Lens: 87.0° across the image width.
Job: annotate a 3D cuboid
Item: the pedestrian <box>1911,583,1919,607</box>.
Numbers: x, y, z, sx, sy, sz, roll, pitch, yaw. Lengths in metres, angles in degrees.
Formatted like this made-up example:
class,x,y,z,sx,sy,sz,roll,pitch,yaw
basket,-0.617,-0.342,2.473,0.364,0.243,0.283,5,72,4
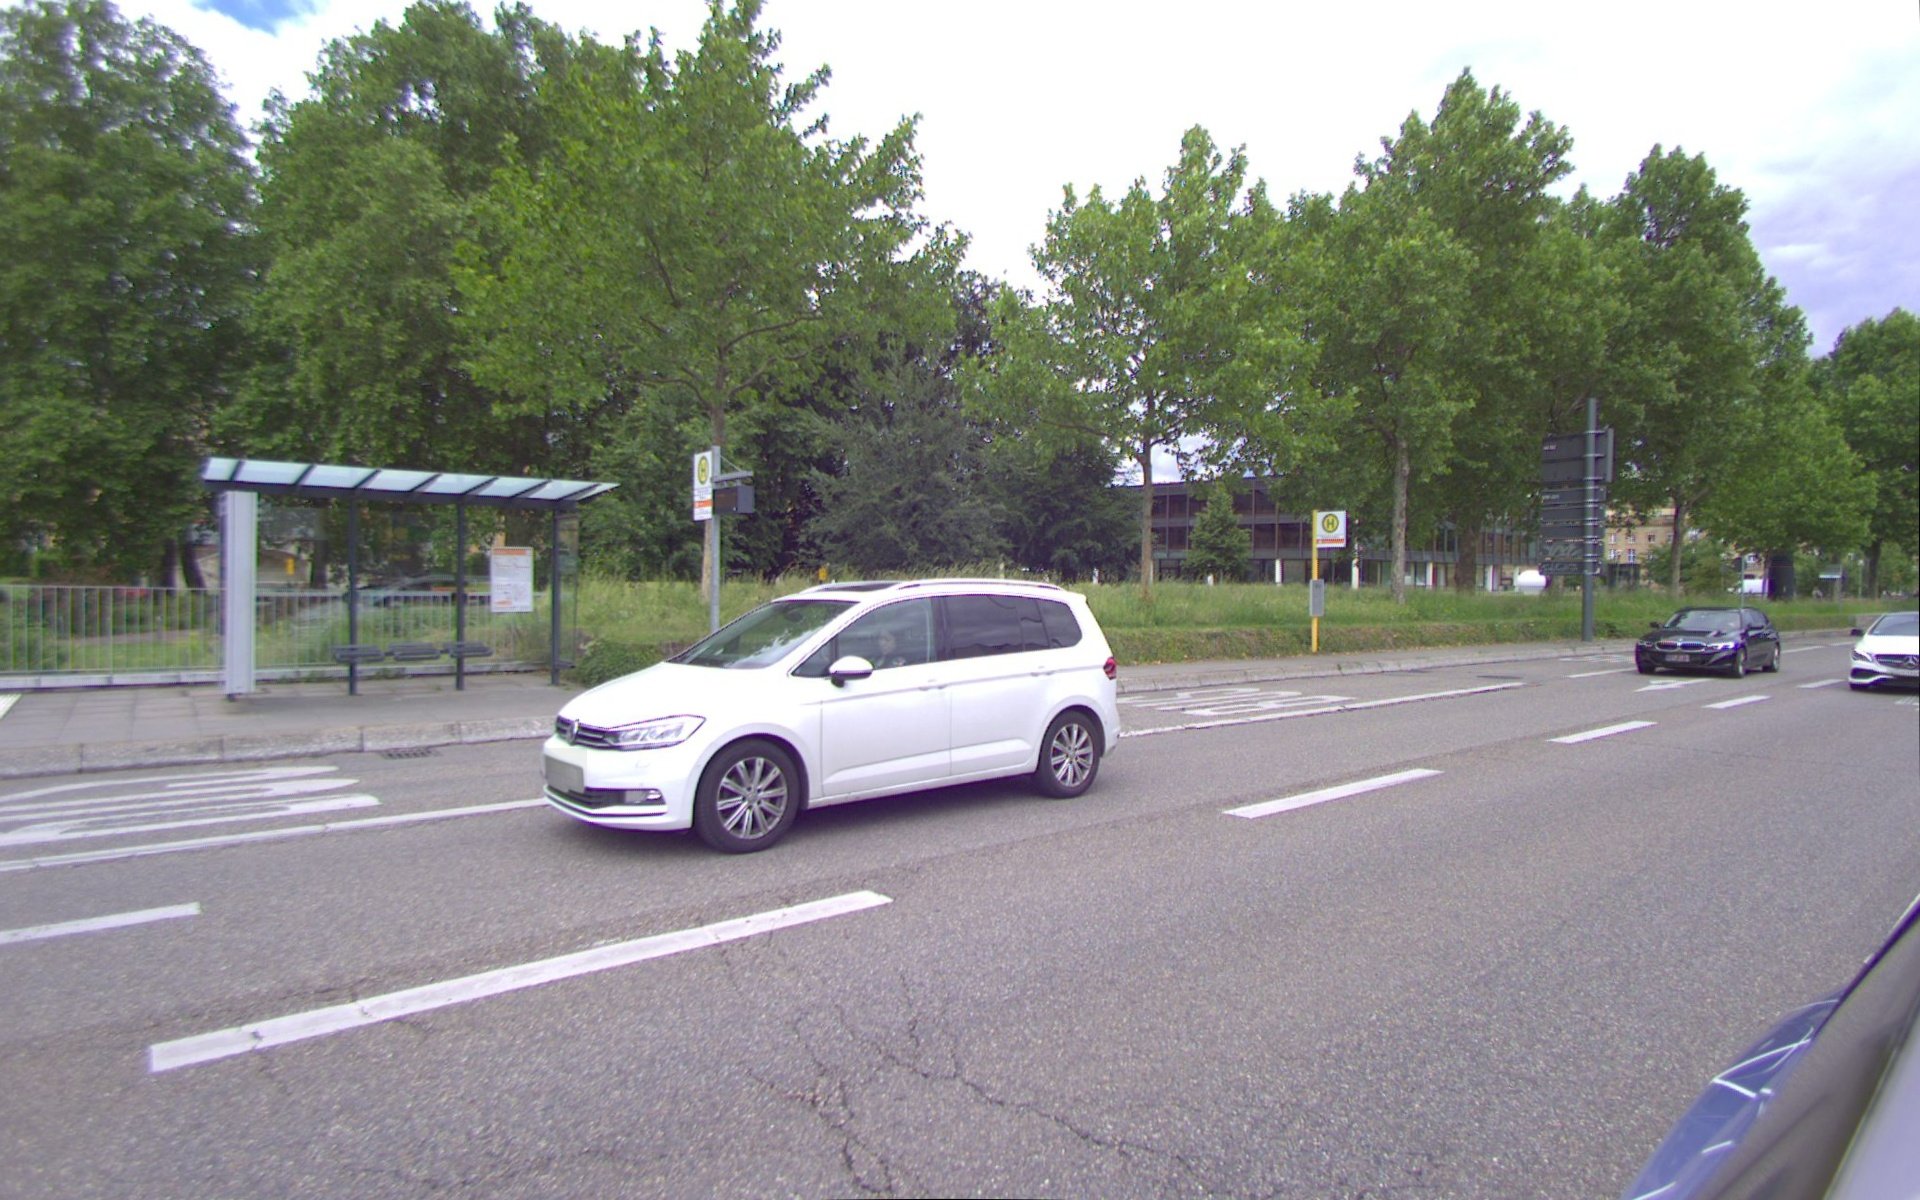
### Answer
class,x,y,z,sx,sy,sz,roll,pitch,yaw
pedestrian,82.754,-0.446,87.262,1.160,2.039,0.891,-1,-1,-40

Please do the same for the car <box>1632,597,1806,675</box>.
class,x,y,z,sx,sy,sz,roll,pitch,yaw
car,16.428,0.701,21.838,4.445,1.478,1.936,-1,0,-39

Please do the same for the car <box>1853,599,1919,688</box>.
class,x,y,z,sx,sy,sz,roll,pitch,yaw
car,17.592,0.718,18.072,4.446,1.437,1.798,0,1,-39

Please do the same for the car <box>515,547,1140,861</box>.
class,x,y,z,sx,sy,sz,roll,pitch,yaw
car,-0.783,0.532,7.525,4.230,1.660,1.997,0,1,-42
